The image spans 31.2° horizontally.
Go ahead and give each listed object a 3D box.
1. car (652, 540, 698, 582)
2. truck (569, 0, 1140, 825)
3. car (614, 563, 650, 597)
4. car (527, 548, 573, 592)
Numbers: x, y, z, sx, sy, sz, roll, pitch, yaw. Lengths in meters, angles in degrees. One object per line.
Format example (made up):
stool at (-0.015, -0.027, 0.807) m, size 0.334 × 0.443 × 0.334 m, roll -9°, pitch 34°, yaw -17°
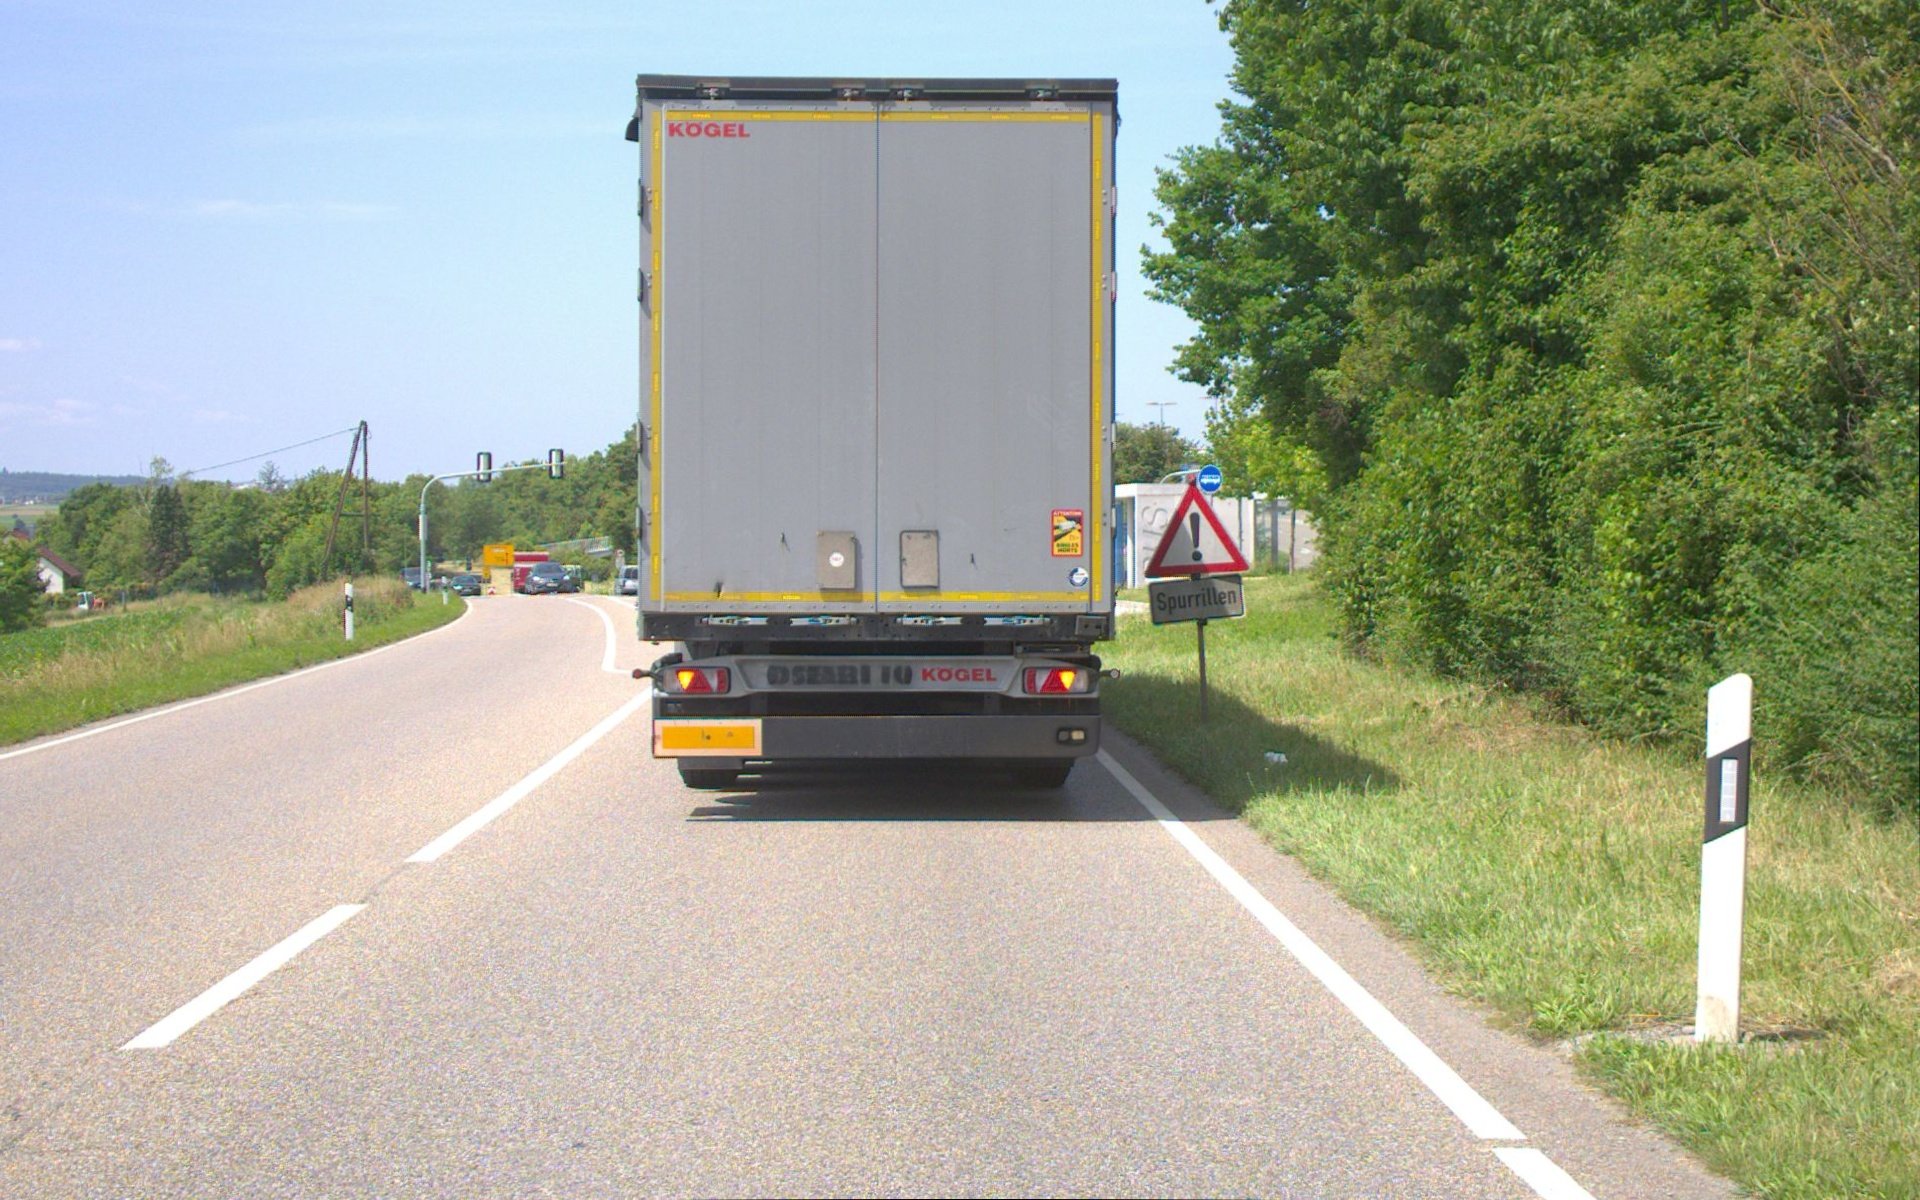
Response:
car at (-14.345, -1.981, 172.718) m, size 2.171 × 2.007 × 4.527 m, roll -2°, pitch 1°, yaw -5°
truck at (-0.811, -1.131, 22.183) m, size 2.907 × 4.395 × 8.861 m, roll 1°, pitch 1°, yaw -4°
car at (-18.227, -1.125, 190.975) m, size 1.892 × 1.771 × 4.387 m, roll -2°, pitch 1°, yaw -5°
car at (-19.214, -1.420, 161.296) m, size 1.993 × 1.943 × 4.503 m, roll -3°, pitch 1°, yaw -6°
